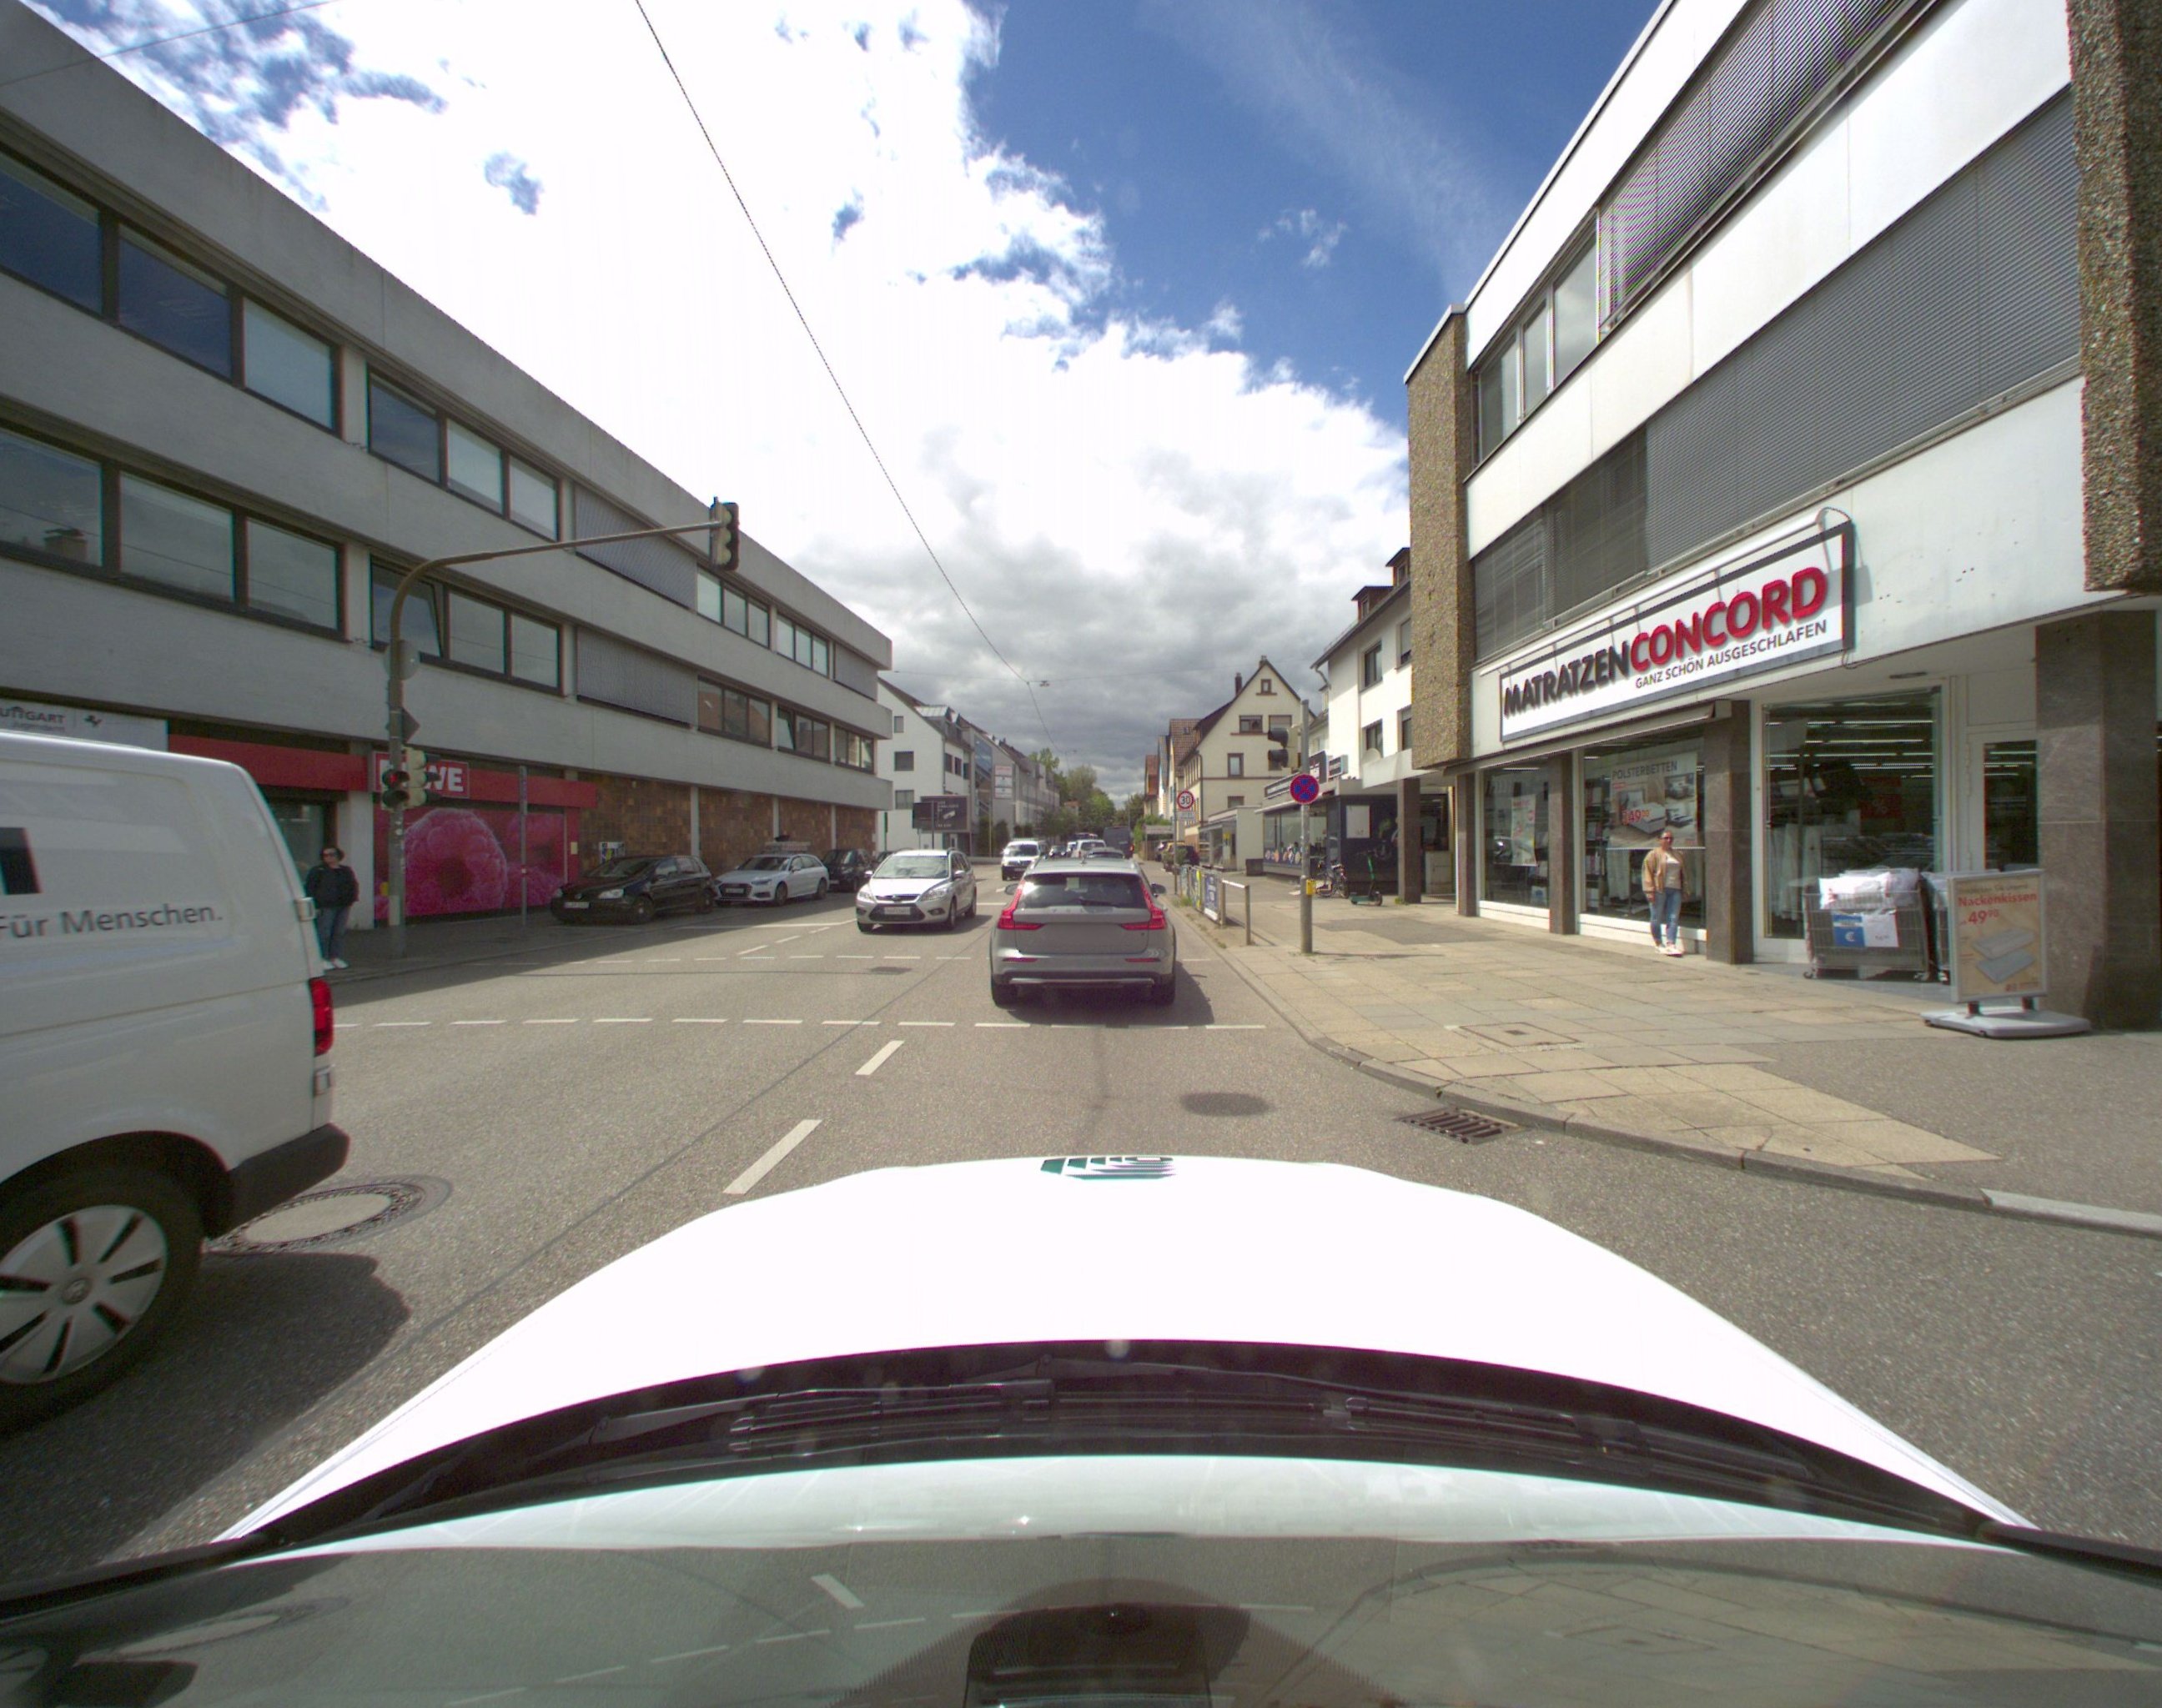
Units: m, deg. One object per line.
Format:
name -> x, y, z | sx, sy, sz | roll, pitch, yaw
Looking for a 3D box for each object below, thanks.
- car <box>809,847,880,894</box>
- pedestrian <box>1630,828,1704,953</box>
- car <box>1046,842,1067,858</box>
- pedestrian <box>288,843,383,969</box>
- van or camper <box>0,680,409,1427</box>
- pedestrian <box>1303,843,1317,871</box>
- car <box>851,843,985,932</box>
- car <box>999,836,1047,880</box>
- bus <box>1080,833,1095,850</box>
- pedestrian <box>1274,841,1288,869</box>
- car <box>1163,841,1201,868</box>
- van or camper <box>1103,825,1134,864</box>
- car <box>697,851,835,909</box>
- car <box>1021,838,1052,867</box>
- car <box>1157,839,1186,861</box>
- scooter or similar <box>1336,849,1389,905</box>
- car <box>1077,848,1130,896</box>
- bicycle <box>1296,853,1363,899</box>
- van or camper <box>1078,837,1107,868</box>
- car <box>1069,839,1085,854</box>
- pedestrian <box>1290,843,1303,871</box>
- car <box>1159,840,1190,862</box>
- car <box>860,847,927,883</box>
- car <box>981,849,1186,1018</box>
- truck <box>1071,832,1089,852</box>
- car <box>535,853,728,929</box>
car -> -8.519, 0.559, 29.552 | 1.601, 1.543, 2.946 | 1, 1, 2
pedestrian -> 7.093, 0.429, 9.881 | 0.500, 1.459, 0.502 | -4, 0, 14
car -> -2.322, -0.441, 78.155 | 1.756, 1.426, 4.001 | -2, 1, 1
pedestrian -> -10.029, 0.676, 10.981 | 0.616, 1.641, 0.661 | -1, 1, 2
van or camper -> -3.709, 0.546, 0.929 | 1.858, 1.897, 4.694 | -1, 2, 1
pedestrian -> 8.579, 0.101, 30.491 | 0.413, 1.052, 0.367 | -1, 1, 0
car -> -3.108, 0.562, 16.387 | 1.662, 1.553, 4.217 | -1, 1, 2
car -> -2.630, 0.152, 37.771 | 1.831, 1.917, 4.157 | 0, 0, 1
bus -> 1.104, -2.133, 140.238 | 2.267, 2.668, 7.434 | -2, 1, 2
pedestrian -> 7.686, 0.023, 31.310 | 0.413, 1.052, 0.367 | -1, 1, 0
car -> 5.796, 0.054, 47.057 | 1.705, 1.464, 3.998 | 0, -1, -1
van or camper -> 2.705, -0.702, 58.797 | 2.115, 2.686, 4.784 | -1, 1, 2
car -> -8.973, 0.681, 23.657 | 1.894, 1.443, 4.450 | 1, 1, 5
car -> -3.170, -0.129, 58.441 | 1.831, 1.917, 4.532 | -2, 0, 1
car -> 6.660, -0.268, 60.542 | 1.875, 1.500, 3.973 | 0, -1, 2
scooter or similar -> 6.540, 0.529, 18.963 | 0.342, 1.253, 1.236 | -3, 0, -24
car -> 0.733, 0.543, 27.053 | 1.645, 1.482, 3.608 | 0, 0, 1
bicycle -> 6.660, 0.561, 21.964 | 0.556, 1.144, 2.287 | -2, 1, -16
van or camper -> 0.748, -0.062, 52.151 | 1.813, 1.835, 4.000 | -1, -1, 1
car -> -0.451, -0.875, 98.262 | 1.791, 1.816, 4.002 | 0, -1, 2
pedestrian -> 8.428, 0.112, 31.866 | 0.413, 1.052, 0.367 | -1, 1, 0
car -> 6.420, -0.195, 56.204 | 1.875, 1.415, 3.973 | 0, -1, 2
car -> -8.186, 0.440, 35.900 | 1.747, 1.426, 3.866 | -2, 1, 4
car -> 0.056, 0.708, 9.359 | 1.829, 1.486, 4.001 | -1, 0, 1
truck -> -0.096, -1.836, 123.914 | 2.267, 2.886, 7.083 | -1, 1, 2
car -> -9.889, 0.727, 18.327 | 1.776, 1.464, 4.093 | 1, 1, 5
